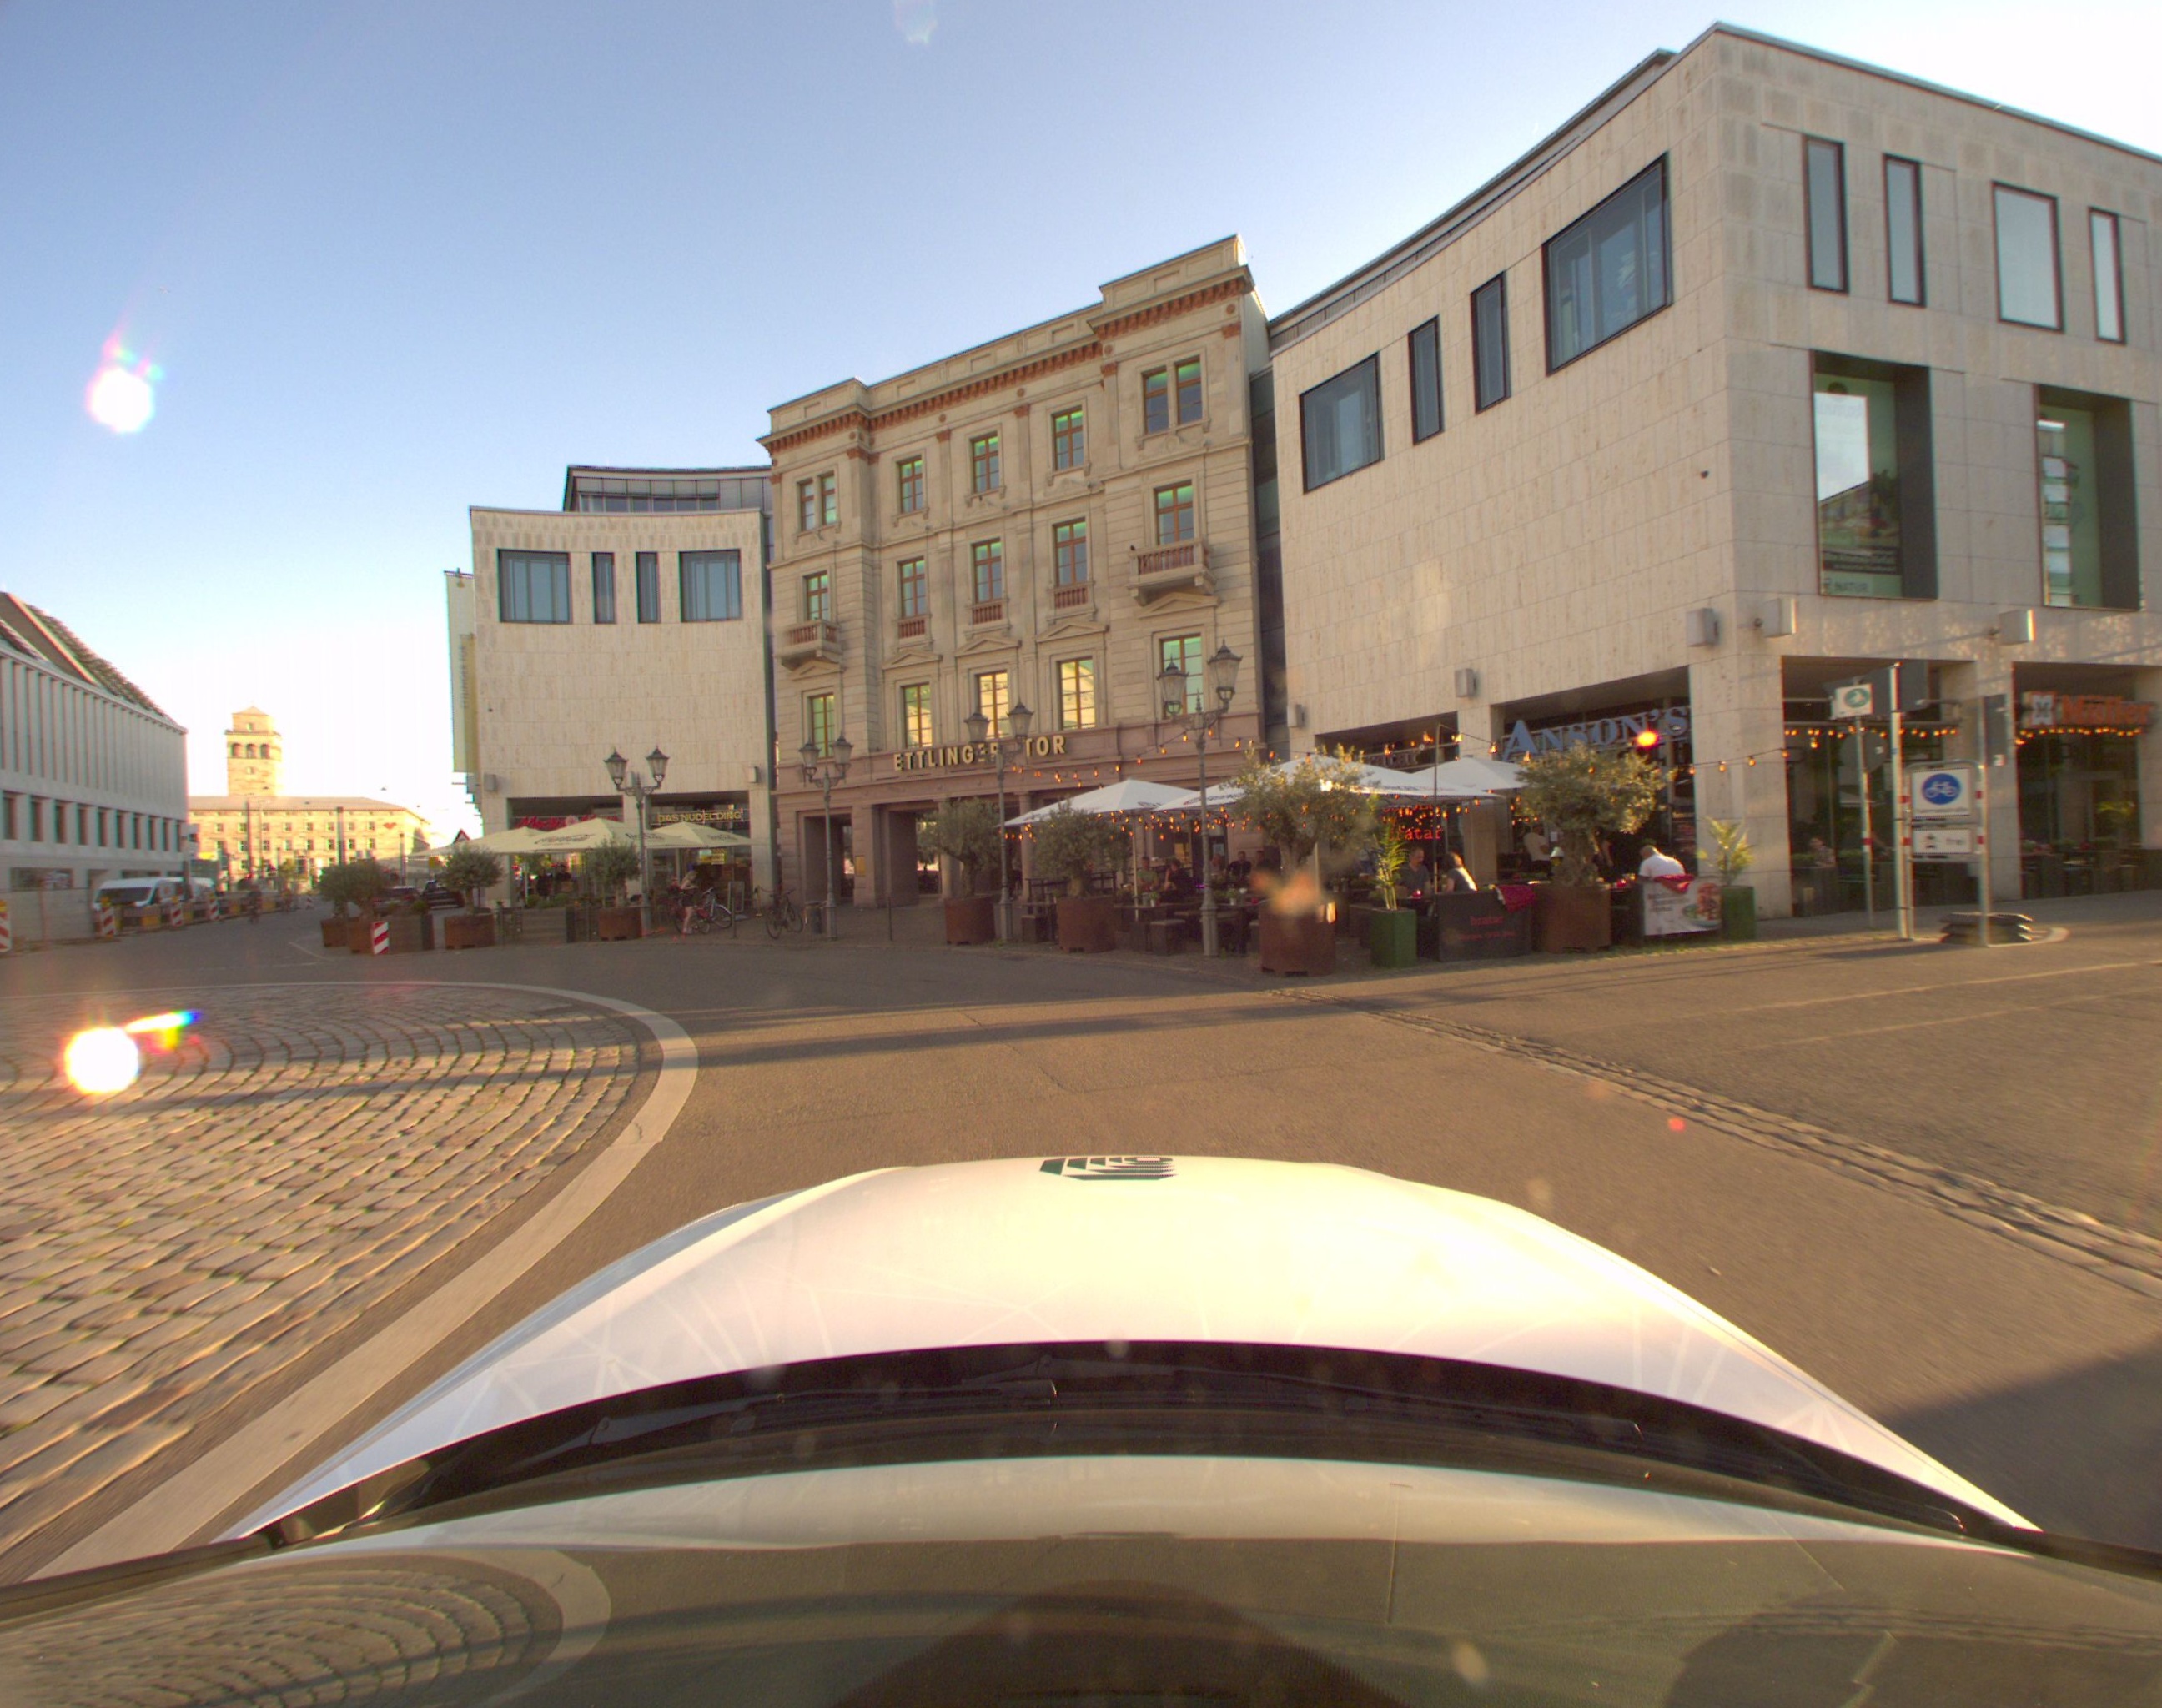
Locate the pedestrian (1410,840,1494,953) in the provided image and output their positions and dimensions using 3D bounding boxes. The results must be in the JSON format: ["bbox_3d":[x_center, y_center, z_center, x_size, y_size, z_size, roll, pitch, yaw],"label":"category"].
[{"bbox_3d":[4.999,0.551,11.005,0.721,1.447,0.690,-2,0,-12],"label":"pedestrian"}]

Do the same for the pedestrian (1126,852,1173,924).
[{"bbox_3d":[1.435,0.695,17.156,0.721,1.447,0.862,-2,0,-12],"label":"pedestrian"}]

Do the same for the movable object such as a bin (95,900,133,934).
[{"bbox_3d":[-45.004,2.912,37.925,1.376,1.466,1.053,-3,-1,42],"label":"movable object such as a bin"}]

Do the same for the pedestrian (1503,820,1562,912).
[{"bbox_3d":[8.945,0.229,16.144,0.712,1.747,0.710,-2,0,-30],"label":"pedestrian"}]

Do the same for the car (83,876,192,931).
[{"bbox_3d":[-47.478,2.411,41.176,2.190,2.470,5.933,-2,0,-35],"label":"car"}]

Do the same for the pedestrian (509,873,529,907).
[{"bbox_3d":[-28.757,1.822,41.680,0.771,1.681,0.867,-2,1,-36],"label":"pedestrian"}]

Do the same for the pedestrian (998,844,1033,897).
[{"bbox_3d":[-2.223,0.570,27.674,0.860,1.747,0.721,-2,0,28],"label":"pedestrian"}]

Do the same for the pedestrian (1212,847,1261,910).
[{"bbox_3d":[3.701,0.574,19.392,0.775,1.447,0.847,-2,0,-20],"label":"pedestrian"}]

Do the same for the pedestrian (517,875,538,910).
[{"bbox_3d":[-27.718,1.928,40.781,0.771,1.681,0.867,-2,1,-36],"label":"pedestrian"}]

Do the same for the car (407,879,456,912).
[{"bbox_3d":[-36.877,2.323,46.315,1.782,1.637,4.013,-6,2,-35],"label":"car"}]

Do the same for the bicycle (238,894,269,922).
[{"bbox_3d":[-39.707,2.586,39.109,0.803,1.217,2.207,-2,0,-40],"label":"bicycle"}]

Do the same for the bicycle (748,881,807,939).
[{"bbox_3d":[-7.041,1.271,18.999,0.603,1.128,1.906,-2,2,1],"label":"bicycle"}]

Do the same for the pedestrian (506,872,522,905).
[{"bbox_3d":[-29.549,1.800,42.448,0.595,1.698,0.688,-3,0,-38],"label":"pedestrian"}]

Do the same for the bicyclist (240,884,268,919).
[{"bbox_3d":[-39.725,2.266,39.116,0.803,1.603,1.216,-2,0,-40],"label":"bicyclist"}]

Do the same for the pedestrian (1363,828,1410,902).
[{"bbox_3d":[7.651,0.271,20.431,0.727,1.802,0.848,-2,0,-8],"label":"pedestrian"}]

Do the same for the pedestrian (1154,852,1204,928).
[{"bbox_3d":[1.952,0.699,16.323,0.721,1.447,0.862,-2,0,-12],"label":"pedestrian"}]

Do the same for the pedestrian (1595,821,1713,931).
[{"bbox_3d":[8.129,0.295,11.580,0.972,1.447,0.939,-2,0,-20],"label":"pedestrian"}]

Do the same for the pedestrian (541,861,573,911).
[{"bbox_3d":[-20.086,1.218,31.212,0.714,1.862,0.669,-2,0,-2],"label":"pedestrian"}]

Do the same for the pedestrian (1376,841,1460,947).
[{"bbox_3d":[4.858,0.556,11.777,0.721,1.447,0.862,-2,0,-12],"label":"pedestrian"}]

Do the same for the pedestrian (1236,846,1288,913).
[{"bbox_3d":[4.107,0.567,18.498,0.775,1.447,0.847,-2,0,-20],"label":"pedestrian"}]

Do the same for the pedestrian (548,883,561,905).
[{"bbox_3d":[-27.230,2.060,42.104,0.491,1.097,0.595,-2,1,-36],"label":"pedestrian"}]

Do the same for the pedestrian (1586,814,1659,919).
[{"bbox_3d":[9.357,0.209,14.100,0.715,1.747,0.707,-2,0,-13],"label":"pedestrian"}]

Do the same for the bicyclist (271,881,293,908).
[{"bbox_3d":[-47.889,2.405,48.835,0.803,1.532,0.963,-2,0,-39],"label":"bicyclist"}]

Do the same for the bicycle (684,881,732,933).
[{"bbox_3d":[-9.387,1.307,20.560,0.605,1.128,1.899,-2,2,-10],"label":"bicycle"}]

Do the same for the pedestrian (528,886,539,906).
[{"bbox_3d":[-28.159,2.155,41.913,0.423,0.986,0.520,-2,1,-36],"label":"pedestrian"}]

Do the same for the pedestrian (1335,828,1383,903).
[{"bbox_3d":[6.926,0.272,20.322,0.726,1.802,0.979,-2,0,-8],"label":"pedestrian"}]

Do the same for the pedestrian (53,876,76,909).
[{"bbox_3d":[-50.685,1.916,40.601,0.547,1.577,0.573,-2,0,-38],"label":"pedestrian"}]

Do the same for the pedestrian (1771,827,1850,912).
[{"bbox_3d":[12.286,0.252,13.736,0.661,1.375,0.689,-2,0,-4],"label":"pedestrian"}]

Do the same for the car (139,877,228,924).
[{"bbox_3d":[-51.802,2.605,47.144,2.190,2.470,5.933,-2,0,-36],"label":"car"}]

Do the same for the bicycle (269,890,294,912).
[{"bbox_3d":[-47.869,2.804,48.800,0.803,1.217,2.207,-2,0,-39],"label":"bicycle"}]

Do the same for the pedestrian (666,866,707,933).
[{"bbox_3d":[-9.735,1.101,20.125,0.749,1.588,0.710,-2,0,-18],"label":"pedestrian"}]

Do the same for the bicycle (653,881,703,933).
[{"bbox_3d":[-10.365,1.336,20.987,0.605,1.128,1.899,-2,2,-10],"label":"bicycle"}]

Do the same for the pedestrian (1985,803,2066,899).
[{"bbox_3d":[18.490,-0.065,15.953,0.731,1.802,0.843,-2,0,-27],"label":"pedestrian"}]

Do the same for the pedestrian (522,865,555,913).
[{"bbox_3d":[-20.275,1.285,30.445,0.714,1.745,0.668,-2,0,-4],"label":"pedestrian"}]

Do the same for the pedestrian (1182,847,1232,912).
[{"bbox_3d":[2.930,0.573,18.975,0.775,1.447,0.846,-2,0,-22],"label":"pedestrian"}]

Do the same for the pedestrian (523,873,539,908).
[{"bbox_3d":[-29.361,1.948,43.449,0.638,1.774,0.766,-2,1,-36],"label":"pedestrian"}]

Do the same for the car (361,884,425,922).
[{"bbox_3d":[-32.853,2.293,38.983,1.809,1.490,4.147,-6,2,-34],"label":"car"}]

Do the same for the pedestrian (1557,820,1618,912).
[{"bbox_3d":[9.953,0.220,16.018,0.712,1.747,0.710,-2,0,-30],"label":"pedestrian"}]
